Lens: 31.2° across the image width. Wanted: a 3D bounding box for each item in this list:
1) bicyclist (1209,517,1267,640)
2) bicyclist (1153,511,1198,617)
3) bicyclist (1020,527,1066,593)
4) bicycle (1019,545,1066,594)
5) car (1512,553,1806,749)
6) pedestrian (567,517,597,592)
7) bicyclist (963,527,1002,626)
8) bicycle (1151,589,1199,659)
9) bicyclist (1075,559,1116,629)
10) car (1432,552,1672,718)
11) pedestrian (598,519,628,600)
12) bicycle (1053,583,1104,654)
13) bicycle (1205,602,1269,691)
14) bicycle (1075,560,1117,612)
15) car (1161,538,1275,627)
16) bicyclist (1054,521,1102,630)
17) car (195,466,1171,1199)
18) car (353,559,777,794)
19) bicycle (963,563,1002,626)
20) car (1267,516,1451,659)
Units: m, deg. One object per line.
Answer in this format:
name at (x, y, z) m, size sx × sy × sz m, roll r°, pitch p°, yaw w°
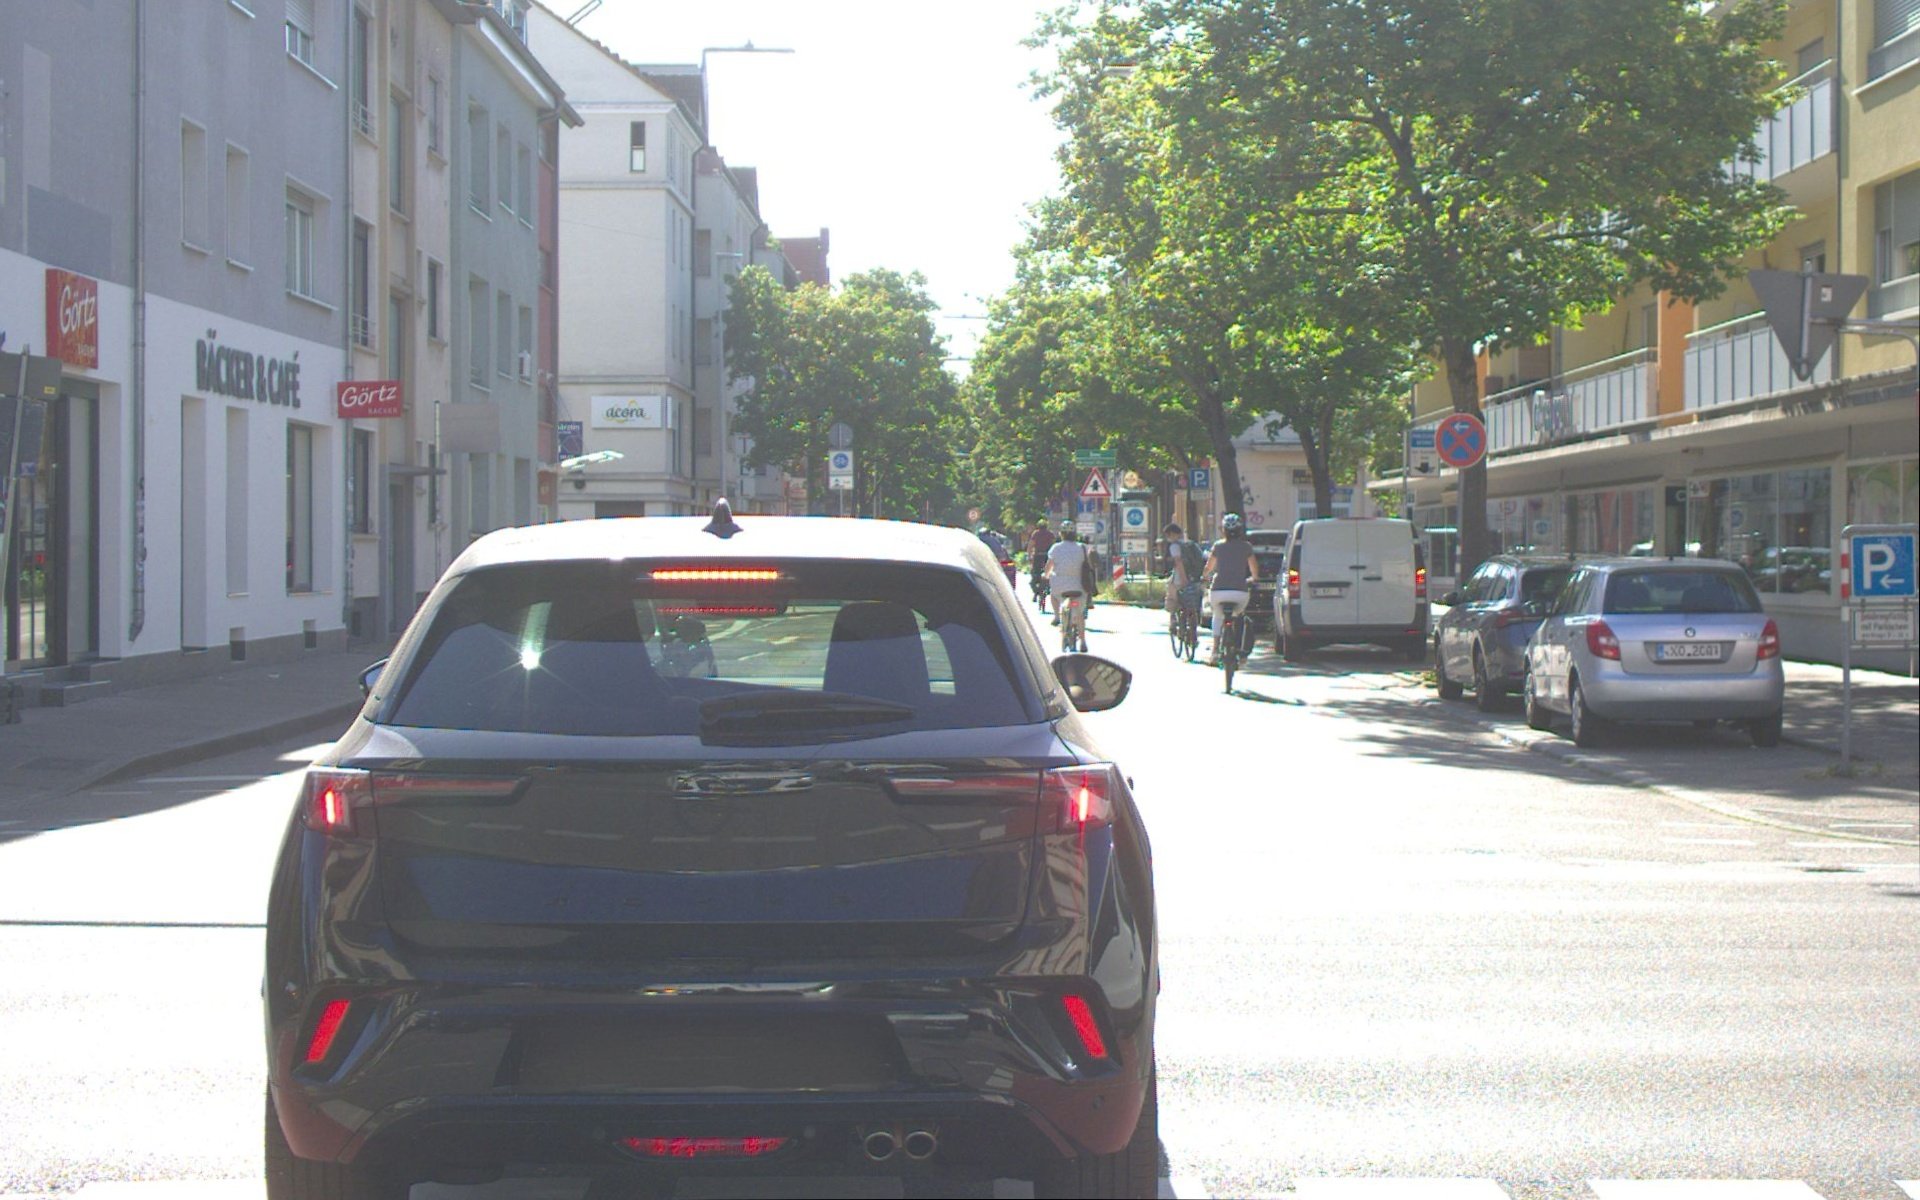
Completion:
bicyclist at (2.882, -0.229, 35.699) m, size 0.547 × 1.257 × 0.803 m, roll 0°, pitch 1°, yaw 1°
bicyclist at (2.833, -0.479, 45.279) m, size 0.547 × 1.378 × 0.823 m, roll 0°, pitch 1°, yaw 1°
bicyclist at (1.714, -0.827, 71.010) m, size 0.856 × 1.310 × 1.210 m, roll 2°, pitch 1°, yaw 0°
bicycle at (1.705, -0.636, 71.088) m, size 0.856 × 0.941 × 2.307 m, roll 2°, pitch 1°, yaw 0°
car at (5.676, 0.369, 28.283) m, size 1.712 × 1.478 × 3.480 m, roll 0°, pitch 1°, yaw 0°
pedestrian at (-7.391, -0.885, 67.208) m, size 0.577 × 1.462 × 0.703 m, roll 0°, pitch 1°, yaw -5°
bicyclist at (0.375, -0.408, 58.159) m, size 0.632 × 1.663 × 1.050 m, roll 0°, pitch 1°, yaw 0°
bicycle at (2.838, 0.306, 45.406) m, size 0.547 × 0.863 × 1.876 m, roll 0°, pitch 1°, yaw 1°
bicyclist at (2.348, -0.105, 59.447) m, size 0.692 × 1.189 × 0.595 m, roll 0°, pitch 1°, yaw 1°
car at (5.596, 0.293, 32.844) m, size 1.712 × 1.478 × 3.381 m, roll 0°, pitch 1°, yaw 0°
pedestrian at (-6.777, -0.792, 67.191) m, size 0.577 × 1.577 × 0.708 m, roll 0°, pitch 1°, yaw -5°
bicycle at (1.508, 0.231, 44.042) m, size 0.620 × 0.863 × 1.876 m, roll 0°, pitch 1°, yaw 1°
bicycle at (2.873, 0.472, 35.787) m, size 0.547 × 0.863 × 1.876 m, roll 0°, pitch 1°, yaw 1°
bicycle at (2.339, -0.246, 59.262) m, size 0.691 × 0.863 × 1.876 m, roll 0°, pitch 1°, yaw 1°
car at (4.425, -0.325, 59.269) m, size 1.712 × 1.478 × 3.381 m, roll 0°, pitch 1°, yaw 0°
bicyclist at (1.512, -0.317, 44.043) m, size 0.588 × 1.378 × 0.823 m, roll 0°, pitch 1°, yaw 1°
car at (-0.516, 0.512, 8.232) m, size 1.762 × 1.553 × 4.000 m, roll 0°, pitch 1°, yaw 0°
car at (-2.629, 0.464, 23.974) m, size 1.805 × 1.408 × 4.424 m, roll -1°, pitch 1°, yaw 9°
bicycle at (0.373, -0.107, 58.383) m, size 0.632 × 1.037 × 1.795 m, roll 0°, pitch 1°, yaw 0°
car at (5.358, -0.207, 46.751) m, size 2.046 × 1.840 × 4.584 m, roll 0°, pitch 1°, yaw 1°
